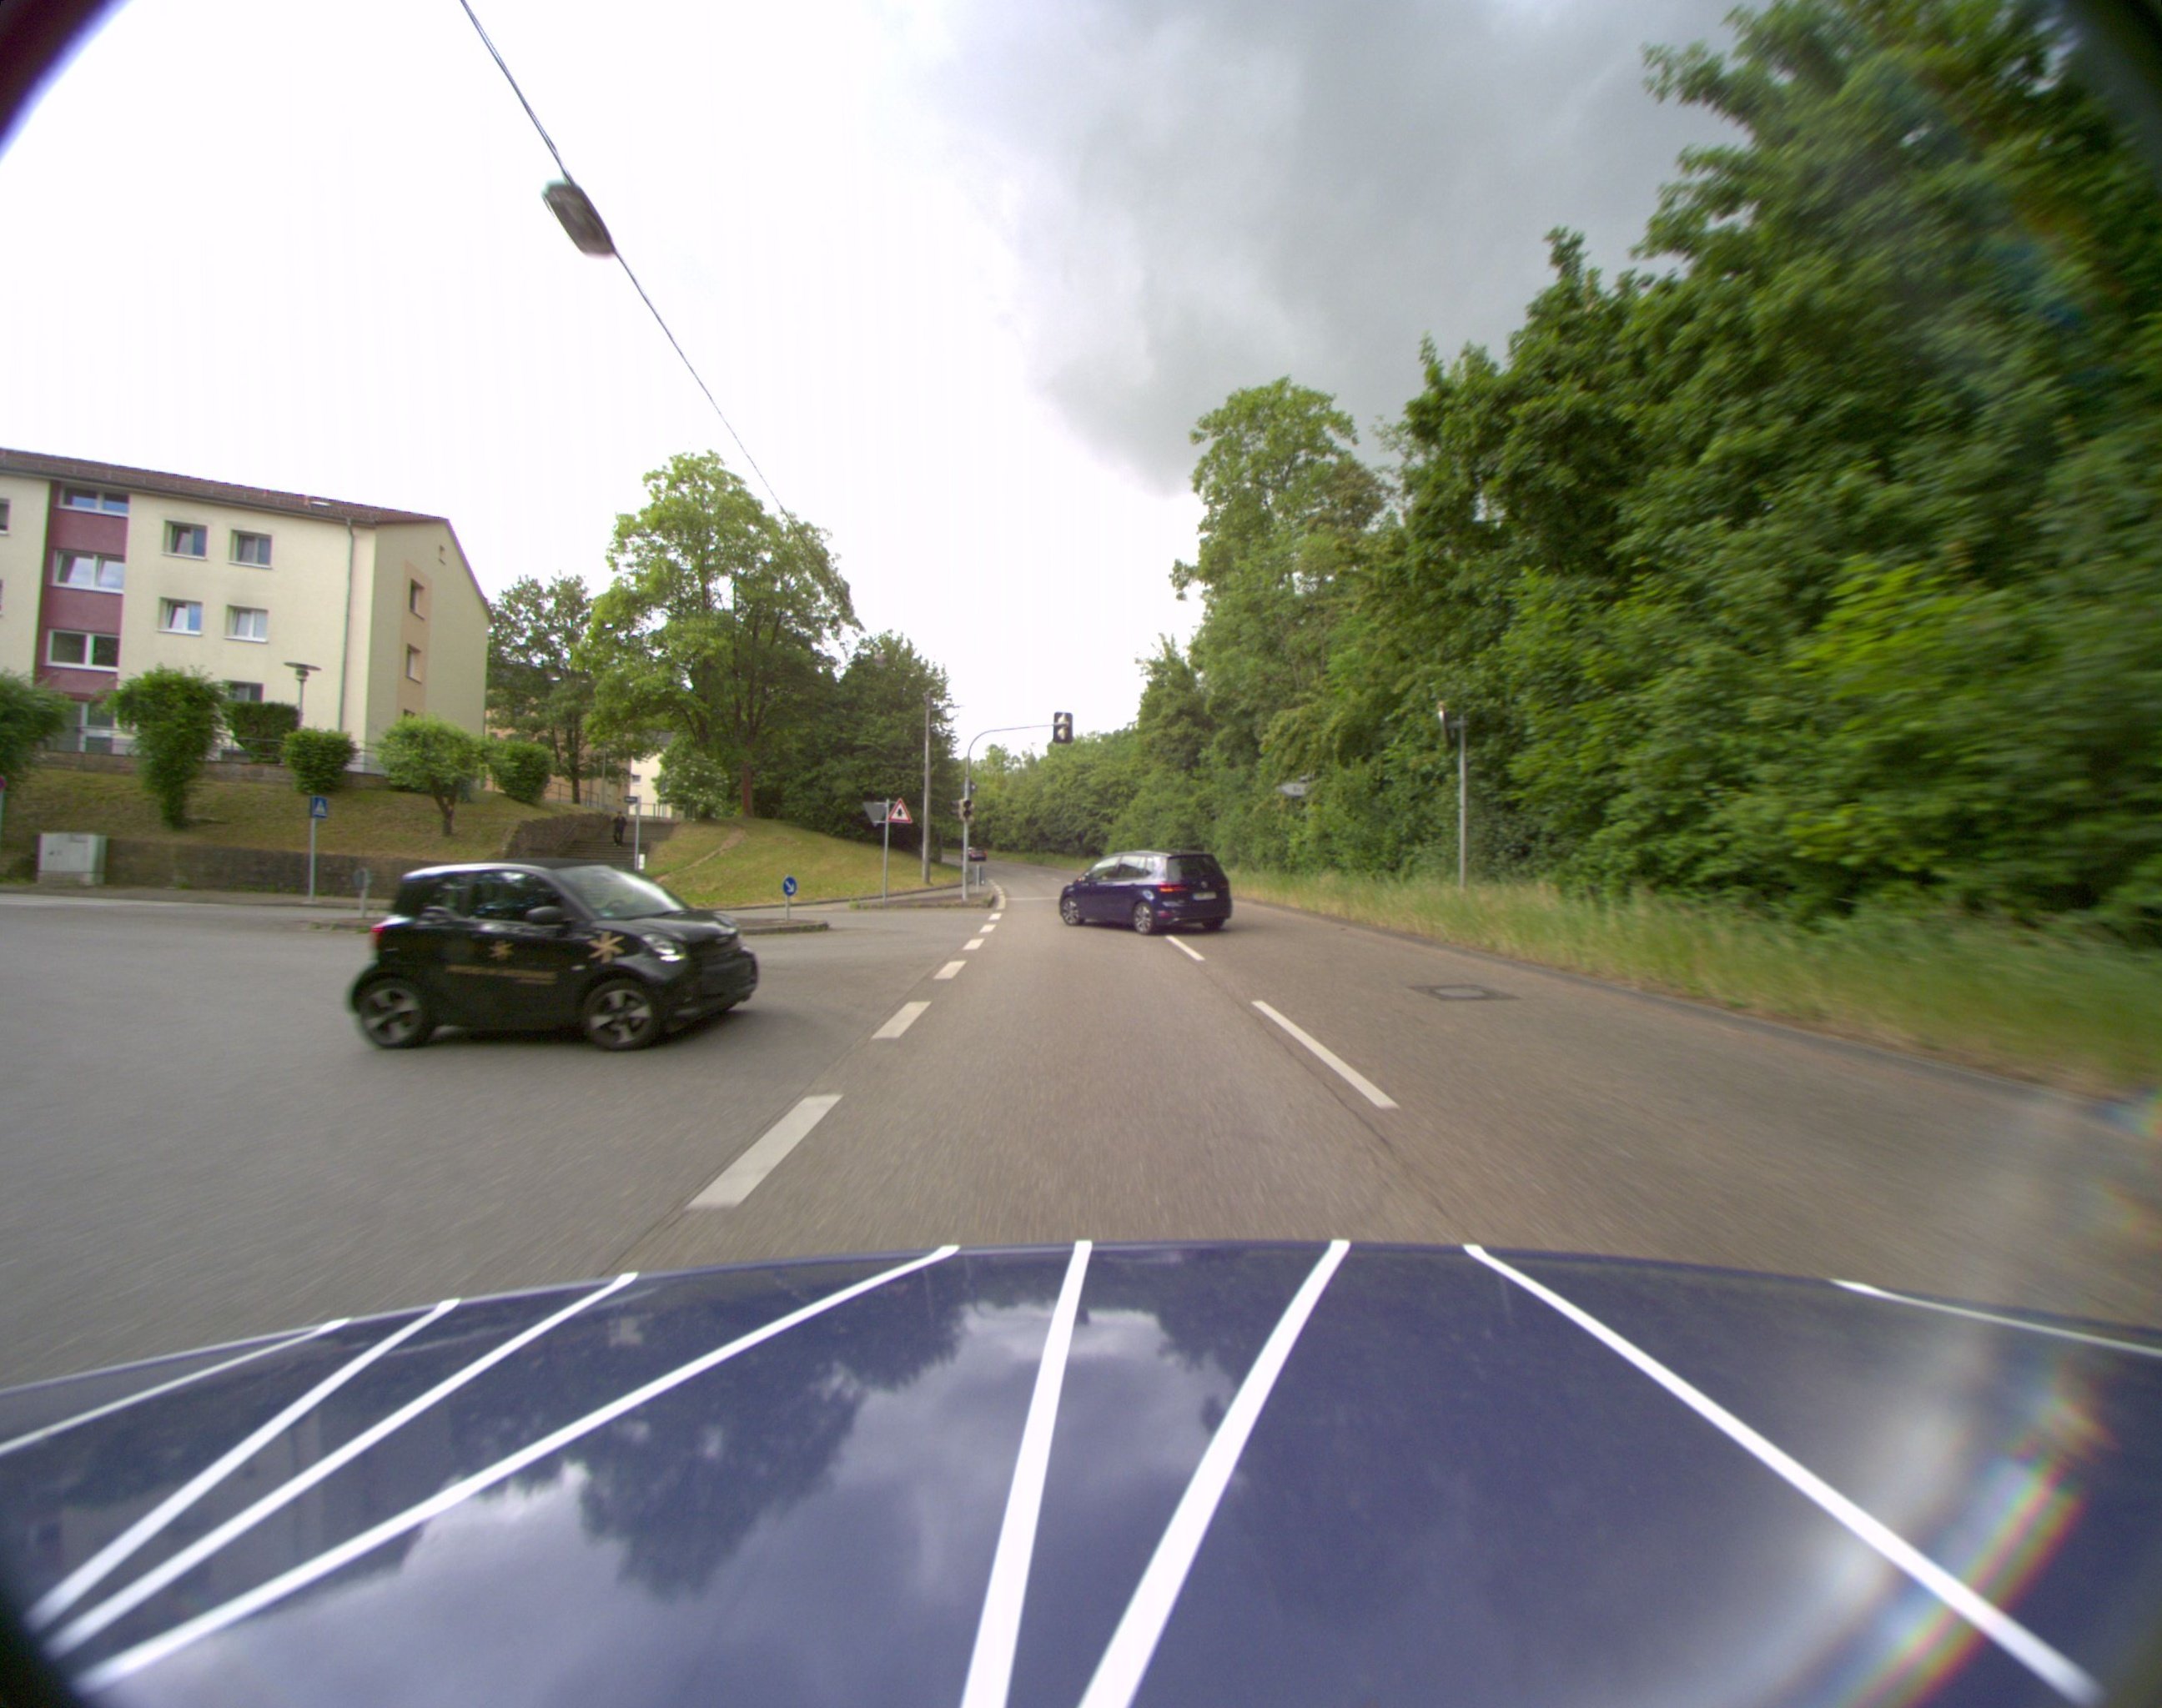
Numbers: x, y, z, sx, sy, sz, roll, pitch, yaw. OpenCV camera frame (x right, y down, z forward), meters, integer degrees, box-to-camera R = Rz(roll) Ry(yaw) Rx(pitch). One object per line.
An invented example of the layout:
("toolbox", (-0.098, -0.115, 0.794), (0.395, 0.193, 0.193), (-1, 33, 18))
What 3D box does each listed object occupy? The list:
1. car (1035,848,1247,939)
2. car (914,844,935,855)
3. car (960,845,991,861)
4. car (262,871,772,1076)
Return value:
("car", (1.000, 0.716, 15.437), (1.797, 1.506, 4.831), (-2, 0, -30))
("car", (-21.505, -0.604, 104.443), (1.810, 1.426, 4.650), (-3, 2, -24))
("car", (-11.386, -0.113, 81.882), (1.907, 1.346, 4.830), (2, 2, -24))
("car", (-4.740, 0.927, 6.703), (3.310, 1.486, 1.668), (0, 1, 5))
